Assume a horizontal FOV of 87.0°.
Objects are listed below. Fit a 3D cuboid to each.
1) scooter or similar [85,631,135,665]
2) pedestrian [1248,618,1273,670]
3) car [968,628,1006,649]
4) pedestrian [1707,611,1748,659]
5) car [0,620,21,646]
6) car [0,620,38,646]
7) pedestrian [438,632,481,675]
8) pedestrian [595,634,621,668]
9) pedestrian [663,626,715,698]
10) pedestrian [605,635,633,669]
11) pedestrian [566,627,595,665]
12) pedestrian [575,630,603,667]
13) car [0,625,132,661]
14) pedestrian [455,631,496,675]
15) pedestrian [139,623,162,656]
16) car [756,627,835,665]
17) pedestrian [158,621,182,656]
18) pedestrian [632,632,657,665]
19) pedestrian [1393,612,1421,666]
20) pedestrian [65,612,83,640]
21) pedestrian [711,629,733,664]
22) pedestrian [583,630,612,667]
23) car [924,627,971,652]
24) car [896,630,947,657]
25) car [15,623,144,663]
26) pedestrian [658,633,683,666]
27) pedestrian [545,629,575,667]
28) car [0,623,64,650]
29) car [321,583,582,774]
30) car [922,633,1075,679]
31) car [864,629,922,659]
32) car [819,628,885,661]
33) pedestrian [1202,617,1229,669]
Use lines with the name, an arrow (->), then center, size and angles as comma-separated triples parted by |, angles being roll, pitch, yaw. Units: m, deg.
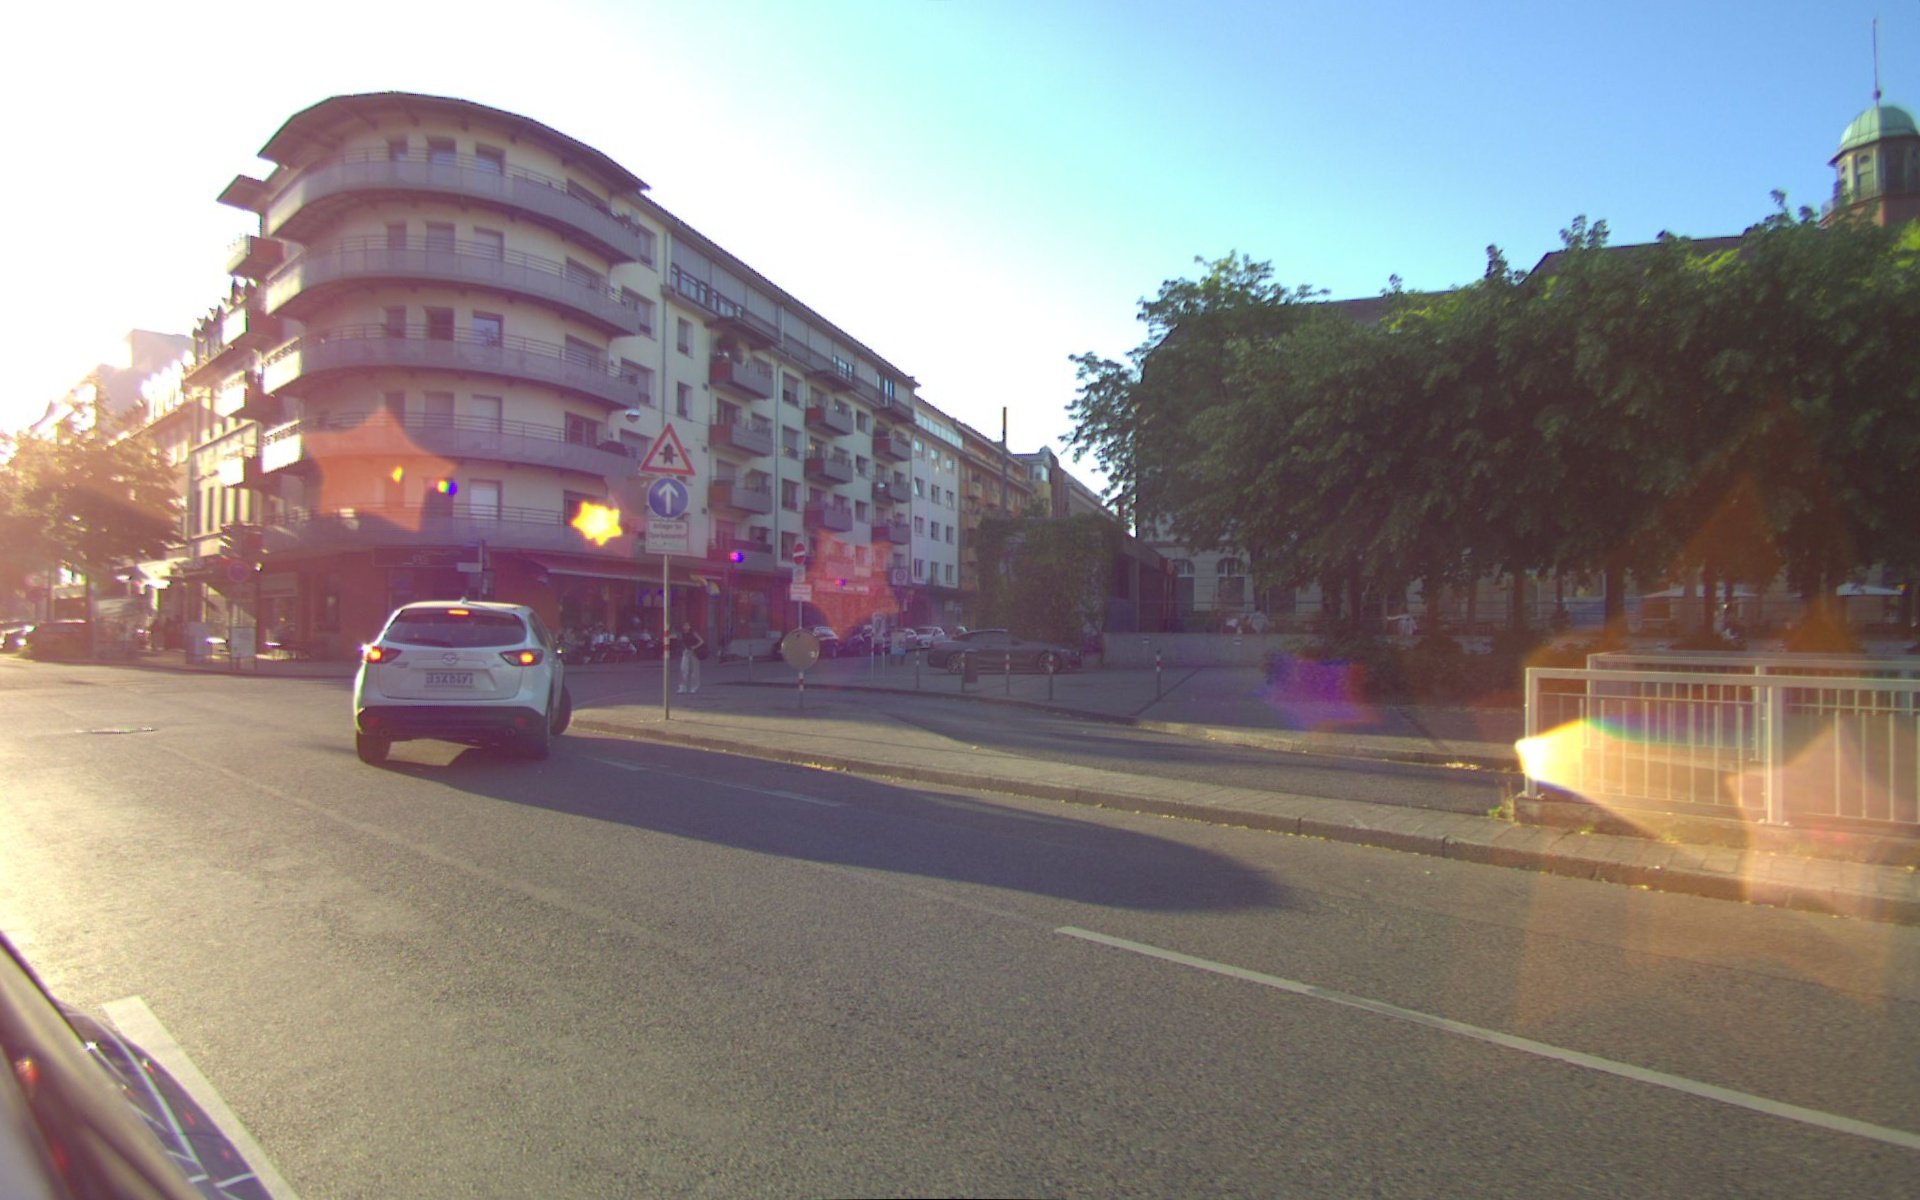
scooter or similar -> -32.308, 1.820, 38.487 | 0.525, 1.235, 1.384 | -1, -1, 38
pedestrian -> 9.493, 1.375, 31.951 | 0.696, 1.598, 0.618 | 1, -1, 18
car -> 2.129, 2.946, 78.478 | 1.954, 1.608, 3.976 | 0, -2, 18
pedestrian -> 21.384, 0.969, 28.208 | 0.648, 1.289, 0.787 | 1, -1, 16
car -> -57.229, 1.934, 58.939 | 1.714, 1.513, 3.520 | -1, -1, 40
car -> -62.260, 2.141, 64.990 | 1.888, 1.608, 4.361 | -2, -1, 40
pedestrian -> -15.305, 1.625, 30.934 | 0.765, 1.251, 0.890 | 1, -1, 33
pedestrian -> -13.383, 1.929, 38.495 | 0.698, 1.234, 0.616 | 1, -1, 28
pedestrian -> -6.036, 1.371, 22.553 | 0.761, 1.579, 0.895 | -1, -2, 16
pedestrian -> -12.591, 1.918, 37.372 | 0.698, 1.234, 0.616 | 1, -1, 28
pedestrian -> -13.199, 1.596, 35.223 | 0.699, 1.297, 0.615 | 1, -1, 32
pedestrian -> -13.524, 1.761, 36.858 | 0.699, 1.343, 0.615 | 1, -1, 32
car -> -39.916, 1.868, 45.043 | 1.820, 1.418, 4.524 | -1, -1, 40
pedestrian -> -14.705, 1.590, 30.694 | 0.746, 1.283, 0.820 | 1, -1, 33
pedestrian -> -38.480, 1.866, 48.118 | 0.875, 1.539, 0.726 | 0, 0, 42
car -> -7.483, 2.070, 46.400 | 1.954, 1.608, 3.976 | 0, -2, 18
pedestrian -> -37.989, 1.829, 48.639 | 0.875, 1.620, 0.764 | 0, 0, 42
pedestrian -> -12.599, 1.923, 40.444 | 0.696, 1.297, 0.617 | 1, -1, 20
pedestrian -> 13.482, 1.163, 30.548 | 0.648, 1.598, 0.787 | 1, -1, 16
pedestrian -> -55.712, 1.637, 63.607 | 0.875, 1.734, 0.764 | 0, 0, 42
pedestrian -> -10.141, 1.966, 43.100 | 0.616, 1.480, 0.698 | 1, -1, 15
pedestrian -> -12.880, 1.720, 35.977 | 0.699, 1.297, 0.615 | 1, -1, 32
car -> -0.808, 2.652, 68.217 | 1.954, 1.608, 3.976 | 0, -2, 18
car -> -2.405, 2.733, 64.015 | 1.954, 1.608, 3.976 | 0, -2, 18
car -> -37.912, 1.823, 43.640 | 1.883, 1.548, 4.030 | -1, -1, 41
pedestrian -> -11.574, 1.967, 40.414 | 0.696, 1.297, 0.617 | 1, -1, 20
pedestrian -> -13.616, 1.621, 34.449 | 0.699, 1.256, 0.615 | 1, -1, 32
car -> -53.364, 2.084, 57.310 | 1.804, 1.455, 3.702 | -1, -1, 39
car -> -5.637, 0.829, 11.845 | 1.966, 1.774, 4.479 | 3, -2, -17
car -> 1.230, 1.689, 31.040 | 4.480, 1.328, 1.993 | 0, -2, 11
car -> -3.760, 2.483, 57.663 | 1.954, 1.608, 3.976 | 0, -2, 18
car -> -5.530, 2.280, 52.337 | 1.954, 1.608, 3.976 | 0, -2, 18
pedestrian -> 8.184, 1.372, 32.361 | 0.764, 1.598, 0.686 | 1, -1, 18
